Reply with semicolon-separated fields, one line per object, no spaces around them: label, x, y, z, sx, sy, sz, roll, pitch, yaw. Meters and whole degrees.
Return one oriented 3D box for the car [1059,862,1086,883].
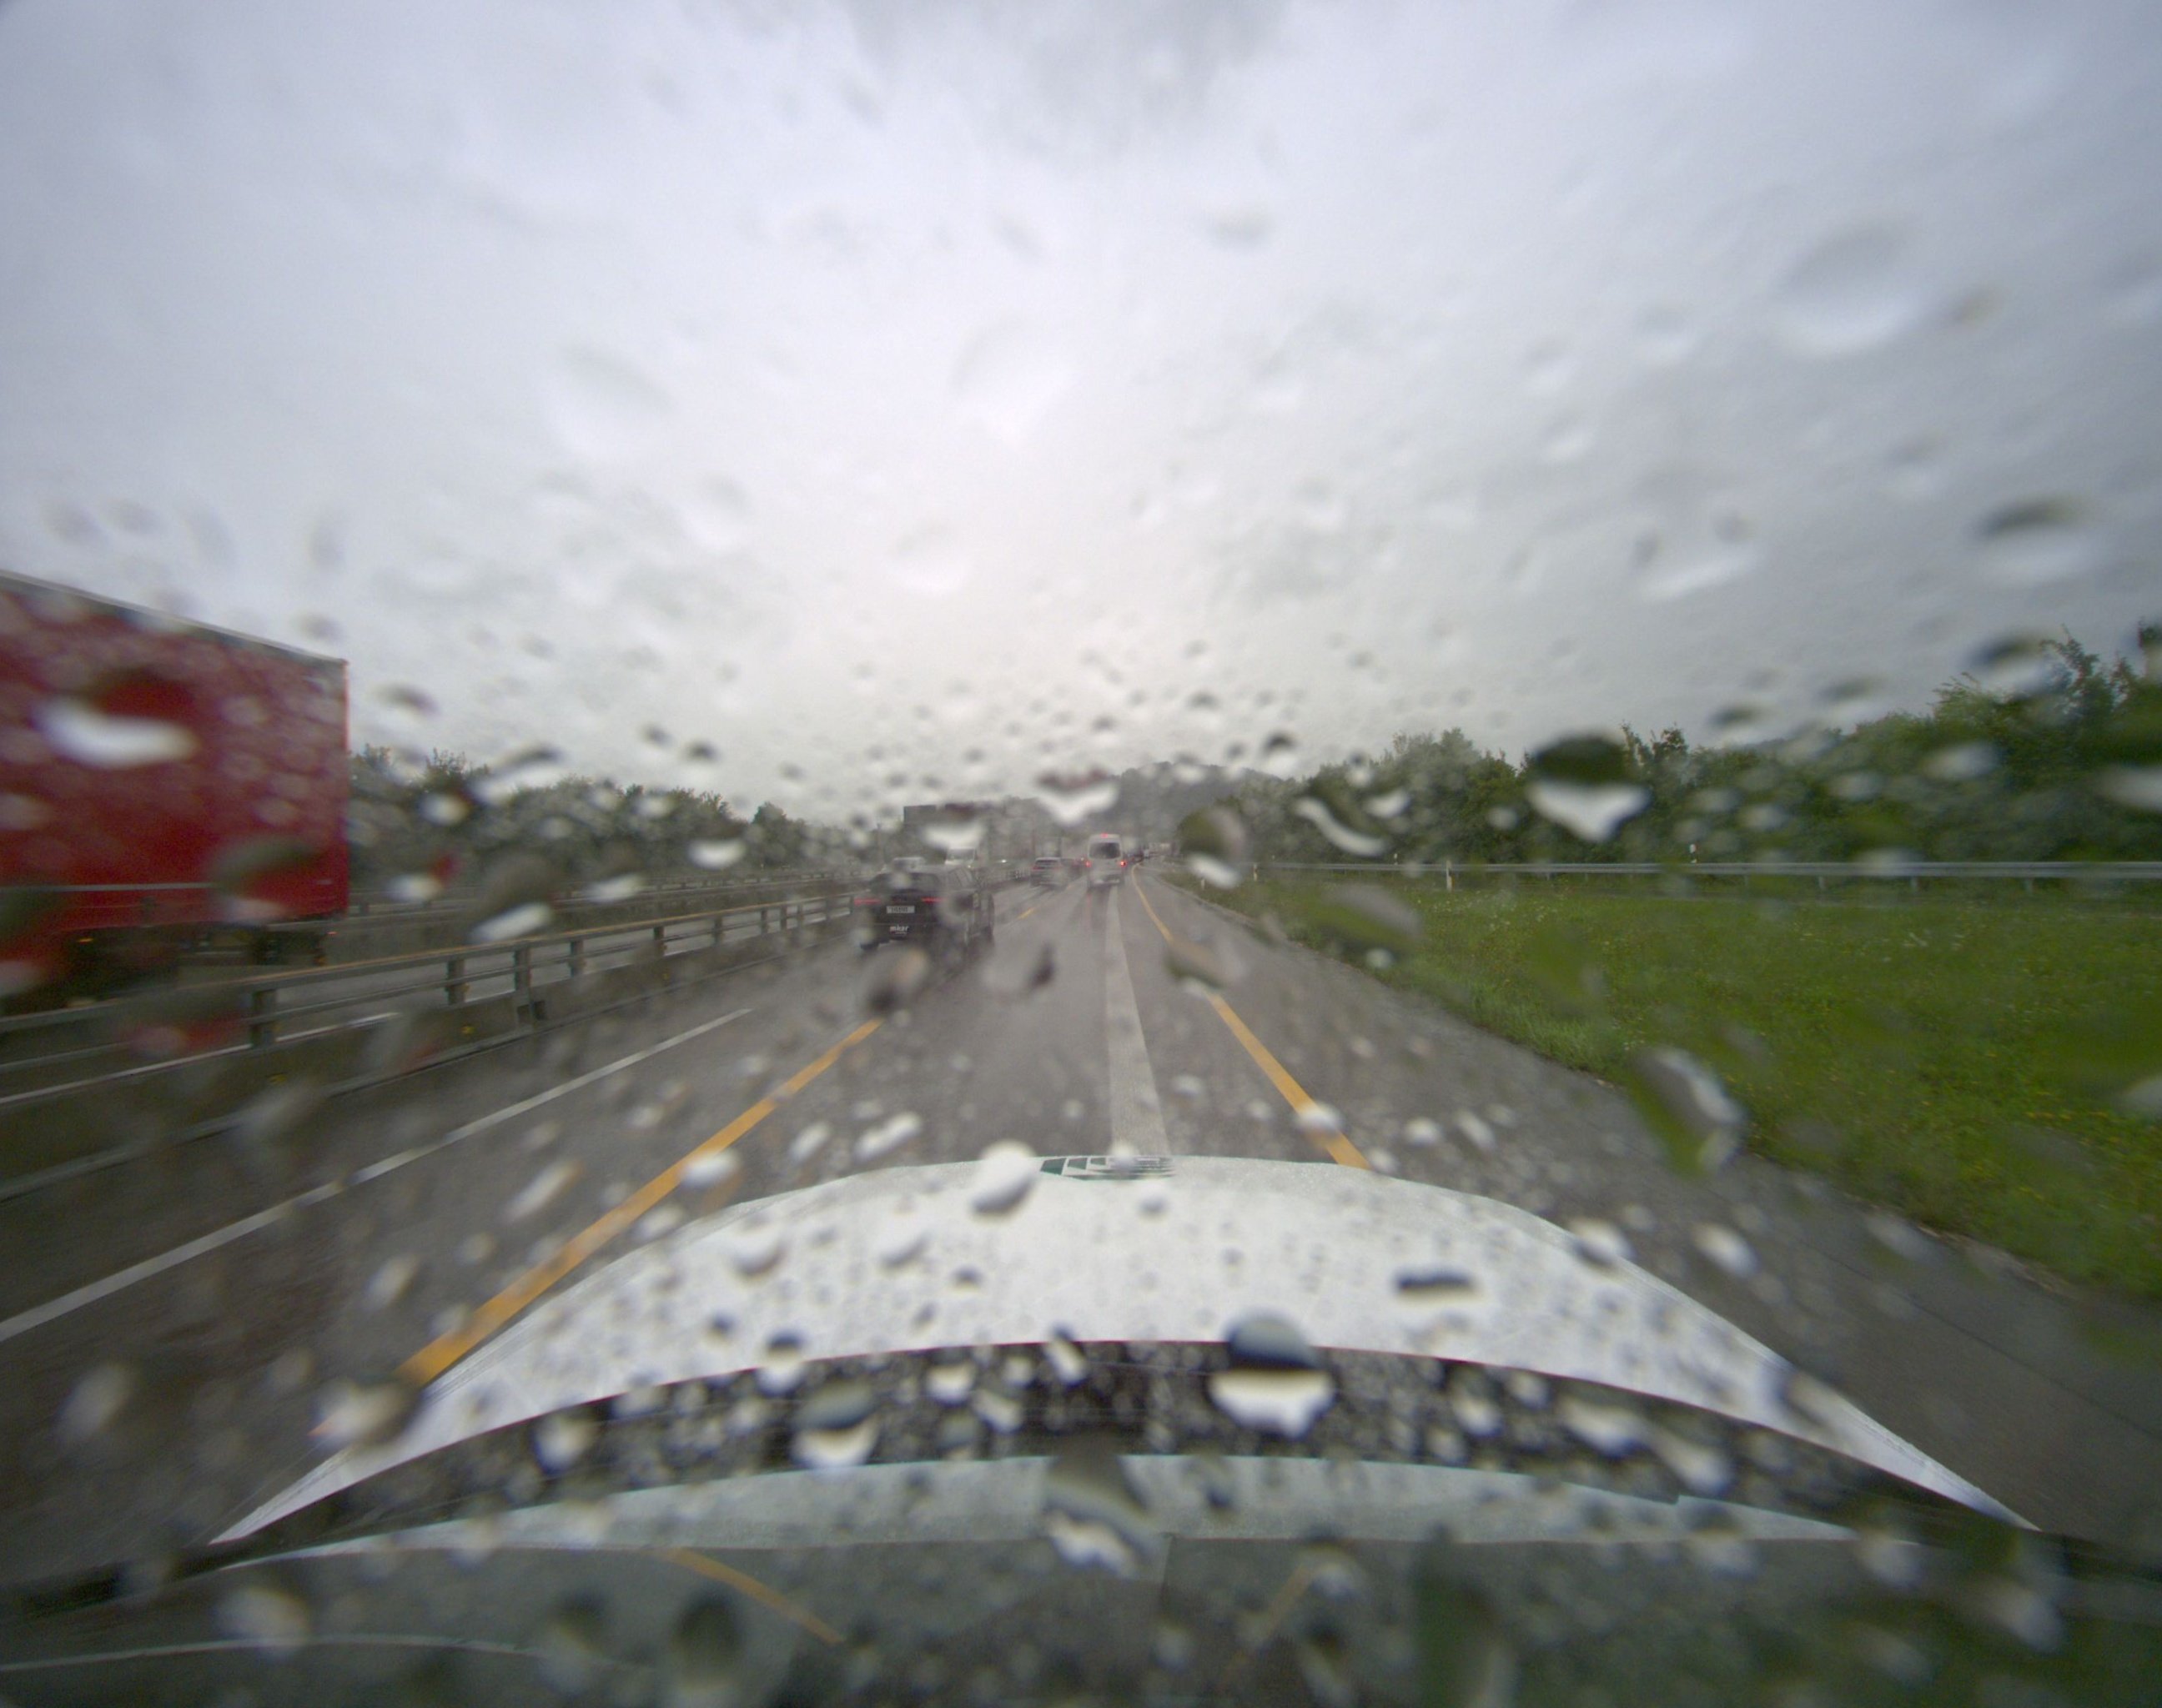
car;-0.597;1.395;61.581;1.845;1.500;4.001;-1;0;1

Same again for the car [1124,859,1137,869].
car;6.135;1.254;101.669;1.380;1.256;3.121;-1;0;-1

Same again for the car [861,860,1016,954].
car;-2.395;0.839;14.946;1.932;1.427;4.760;-1;-1;1

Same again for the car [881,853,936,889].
car;-8.443;0.824;40.216;1.630;1.668;4.545;0;-1;2

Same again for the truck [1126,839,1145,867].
truck;9.875;-0.108;148.238;3.306;4.785;9.914;0;-1;3

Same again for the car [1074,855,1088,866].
car;0.025;0.647;84.567;1.257;1.078;3.256;-1;0;3

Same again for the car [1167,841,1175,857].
car;23.477;-1.213;212.416;2.048;4.192;6.756;-1;-1;5

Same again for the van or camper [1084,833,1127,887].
van or camper;1.345;0.325;43.723;2.131;2.721;4.651;-1;-1;2

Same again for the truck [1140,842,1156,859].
truck;15.348;-0.696;186.494;3.306;3.762;9.914;0;-1;3

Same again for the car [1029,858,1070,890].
car;-1.679;1.059;44.491;1.860;1.659;3.990;-1;0;2

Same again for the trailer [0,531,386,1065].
trailer;-10.217;-0.431;4.486;2.965;4.295;11.063;-2;-1;1

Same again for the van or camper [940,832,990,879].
van or camper;-7.835;0.120;55.771;2.285;3.041;6.701;0;-1;2

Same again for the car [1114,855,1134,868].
car;3.696;0.624;70.630;1.381;1.078;3.118;-1;0;-3

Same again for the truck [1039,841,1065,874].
truck;-3.925;0.525;111.295;2.876;4.232;6.331;-2;-1;3

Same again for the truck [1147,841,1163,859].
truck;20.364;-1.162;224.627;3.907;4.785;9.927;0;-1;8
